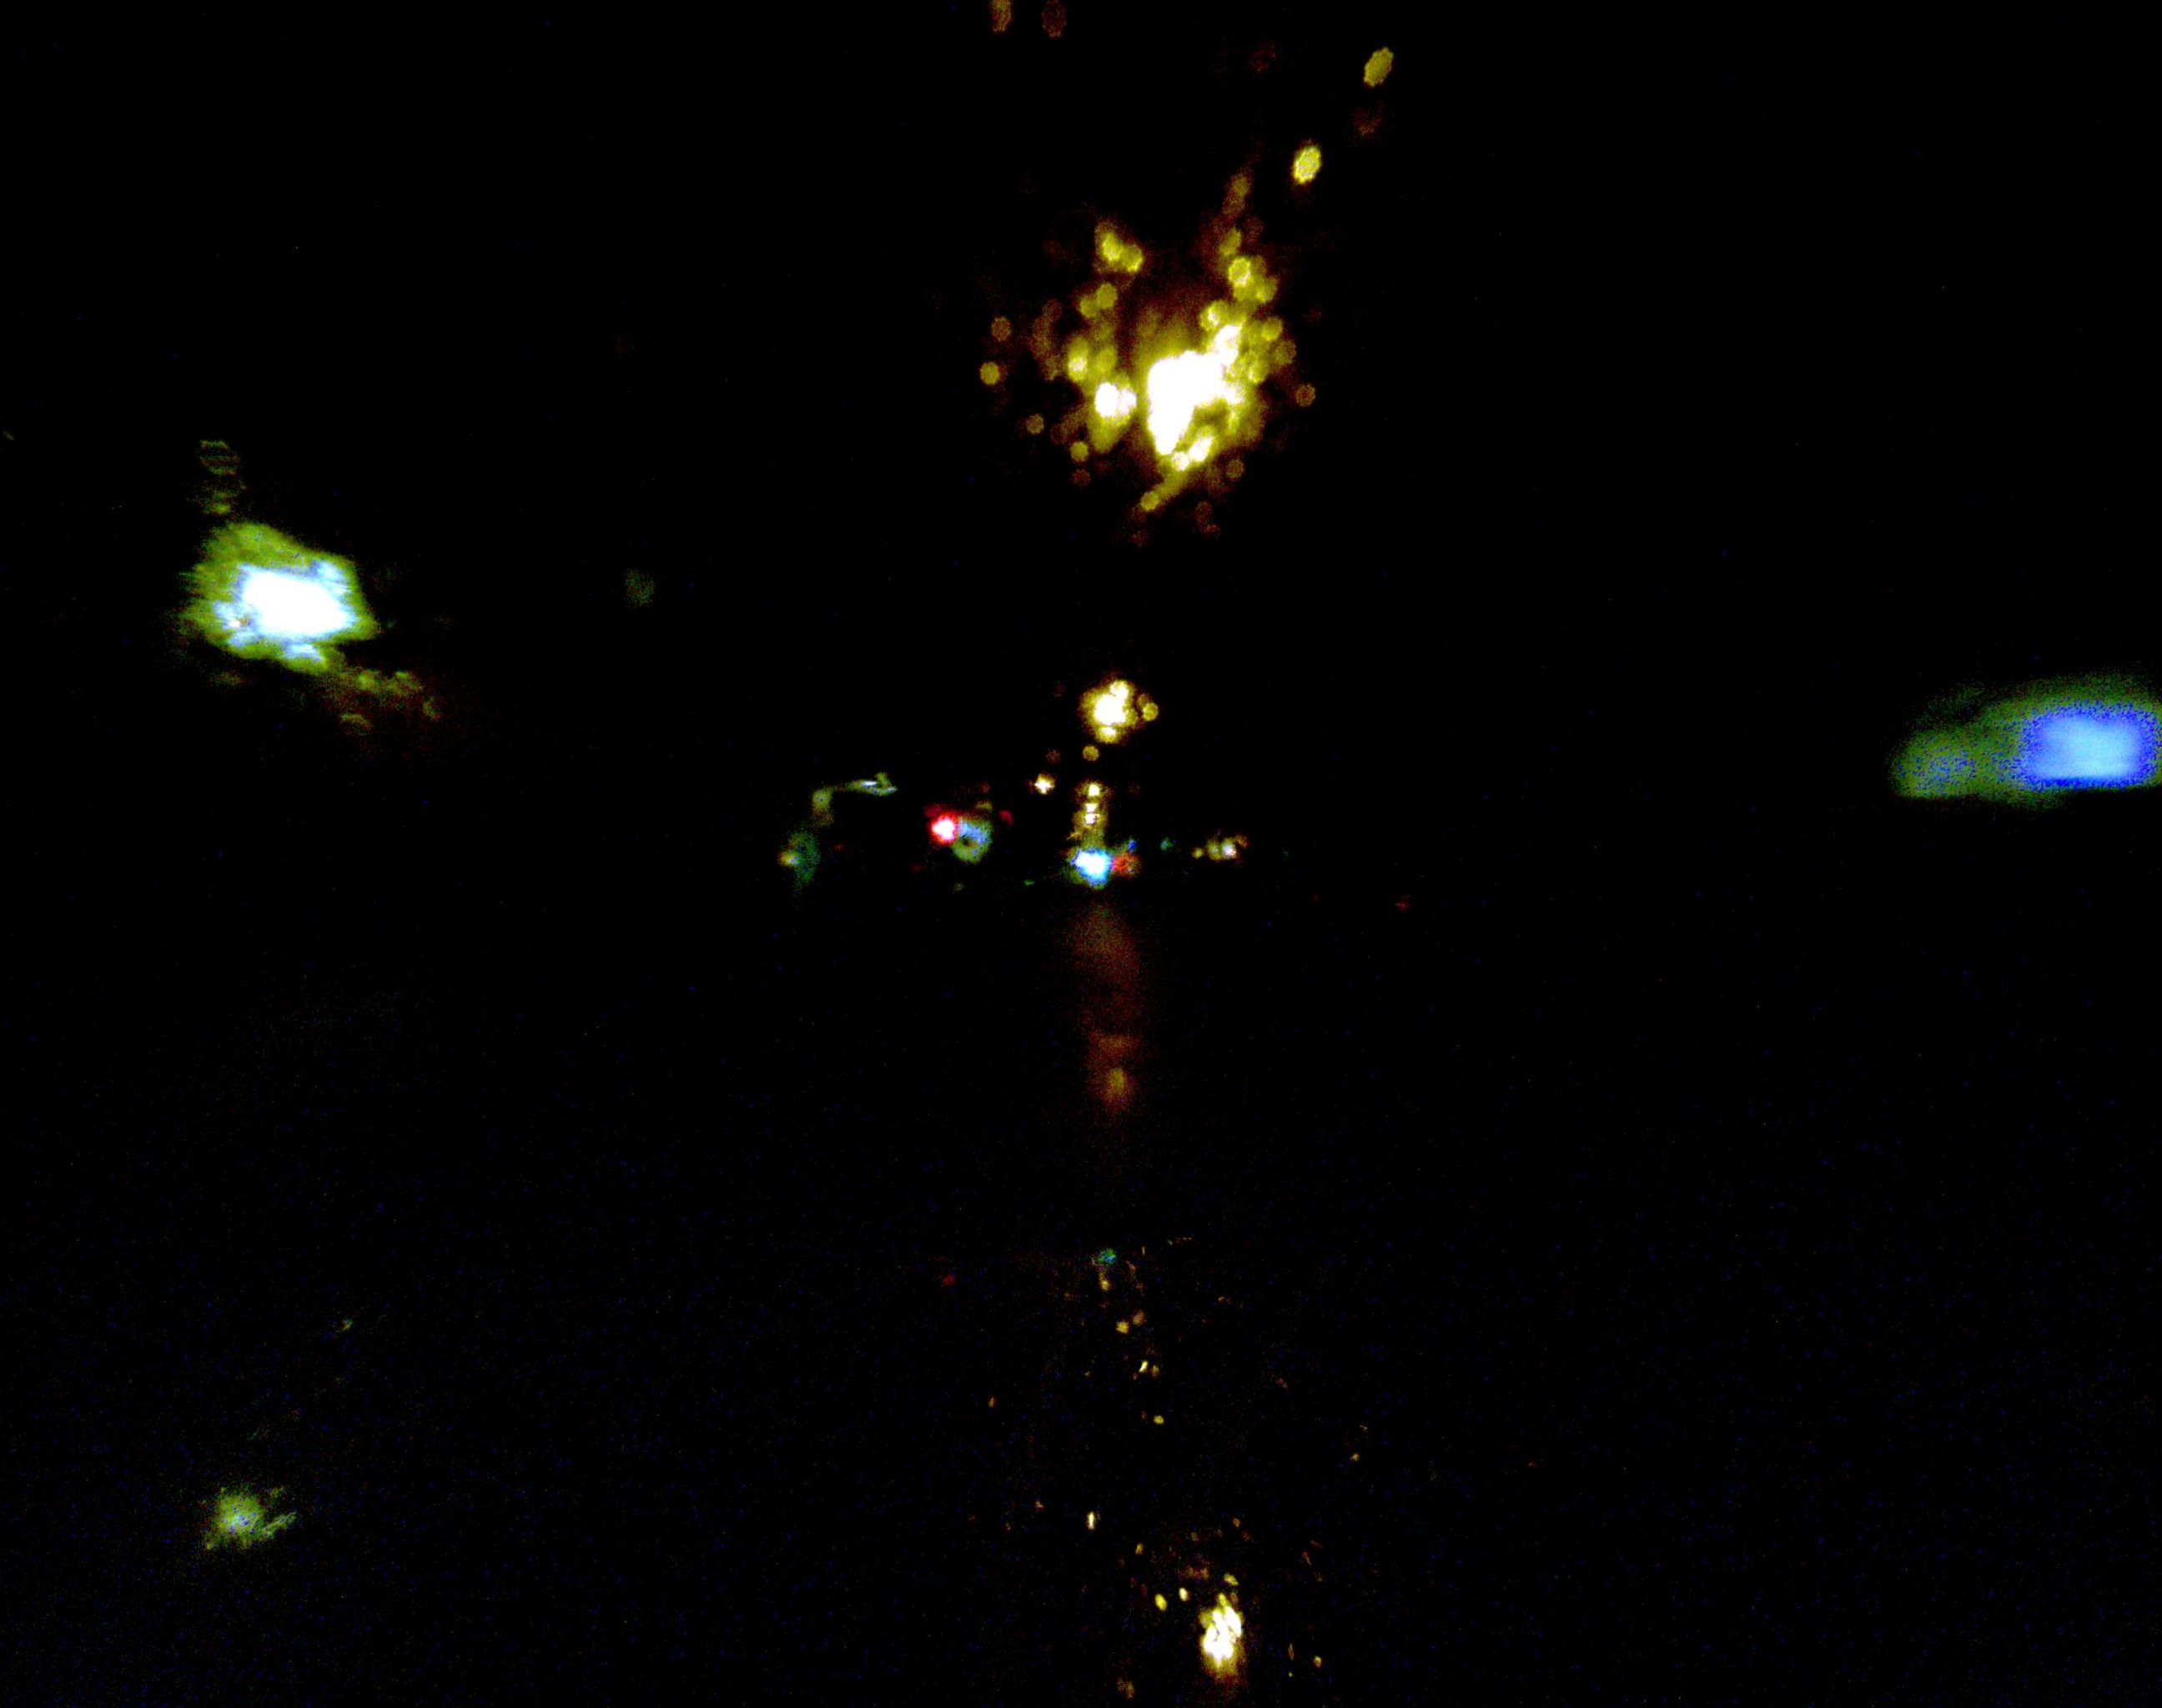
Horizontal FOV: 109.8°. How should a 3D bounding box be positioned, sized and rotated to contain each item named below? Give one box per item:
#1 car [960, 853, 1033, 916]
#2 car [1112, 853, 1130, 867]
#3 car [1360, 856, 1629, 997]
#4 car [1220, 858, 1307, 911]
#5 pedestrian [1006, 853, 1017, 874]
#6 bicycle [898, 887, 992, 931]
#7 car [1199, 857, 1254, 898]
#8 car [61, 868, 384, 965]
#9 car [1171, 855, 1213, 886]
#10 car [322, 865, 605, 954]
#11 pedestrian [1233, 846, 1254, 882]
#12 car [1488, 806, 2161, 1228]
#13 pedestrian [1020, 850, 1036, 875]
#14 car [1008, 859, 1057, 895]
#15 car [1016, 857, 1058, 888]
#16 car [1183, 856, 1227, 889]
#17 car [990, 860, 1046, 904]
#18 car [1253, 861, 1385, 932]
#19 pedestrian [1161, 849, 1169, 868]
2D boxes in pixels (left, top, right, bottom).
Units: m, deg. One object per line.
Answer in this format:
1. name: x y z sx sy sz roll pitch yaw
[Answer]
1. car: -2.420 0.826 22.590 1.676 1.712 3.856 0 0 1
2. car: 4.332 0.697 81.383 1.877 1.386 4.075 -1 -1 4
3. car: 5.373 0.830 10.487 1.731 1.565 3.720 -1 0 1
4. car: 5.538 0.884 23.583 1.731 1.445 4.273 -1 0 1
5. pedestrian: -6.358 0.893 69.463 0.776 1.890 0.777 -3 1 1
6. bicycle: -3.130 1.234 17.385 2.267 0.889 0.619 0 0 30
7. car: 5.527 0.864 29.227 1.531 1.445 3.384 -1 0 1
8. car: -16.518 1.164 14.789 3.996 1.499 2.000 -3 1 2
9. car: 5.696 0.862 39.439 1.697 1.470 3.964 -1 -1 2
10. car: -11.970 1.033 14.926 3.996 1.476 1.895 -2 0 2
11. pedestrian: 8.503 0.519 39.723 0.912 1.778 0.629 -3 1 1
12. car: 5.258 0.701 5.682 1.907 1.818 4.829 -1 0 1
13. pedestrian: -3.619 0.581 52.019 1.007 1.698 0.614 0 1 1
14. car: -2.106 0.975 34.017 1.846 1.498 4.162 0 0 1
15. car: -2.233 0.940 39.729 1.846 1.498 4.162 0 0 1
16. car: 5.725 0.860 35.408 1.696 1.470 3.385 -1 -1 5
17. car: -2.304 0.984 28.660 1.689 1.498 4.162 0 0 1
18. car: 5.358 0.890 17.750 1.731 1.384 4.555 -1 0 1
19. pedestrian: 8.879 0.473 80.412 0.776 2.002 0.587 -3 1 1
